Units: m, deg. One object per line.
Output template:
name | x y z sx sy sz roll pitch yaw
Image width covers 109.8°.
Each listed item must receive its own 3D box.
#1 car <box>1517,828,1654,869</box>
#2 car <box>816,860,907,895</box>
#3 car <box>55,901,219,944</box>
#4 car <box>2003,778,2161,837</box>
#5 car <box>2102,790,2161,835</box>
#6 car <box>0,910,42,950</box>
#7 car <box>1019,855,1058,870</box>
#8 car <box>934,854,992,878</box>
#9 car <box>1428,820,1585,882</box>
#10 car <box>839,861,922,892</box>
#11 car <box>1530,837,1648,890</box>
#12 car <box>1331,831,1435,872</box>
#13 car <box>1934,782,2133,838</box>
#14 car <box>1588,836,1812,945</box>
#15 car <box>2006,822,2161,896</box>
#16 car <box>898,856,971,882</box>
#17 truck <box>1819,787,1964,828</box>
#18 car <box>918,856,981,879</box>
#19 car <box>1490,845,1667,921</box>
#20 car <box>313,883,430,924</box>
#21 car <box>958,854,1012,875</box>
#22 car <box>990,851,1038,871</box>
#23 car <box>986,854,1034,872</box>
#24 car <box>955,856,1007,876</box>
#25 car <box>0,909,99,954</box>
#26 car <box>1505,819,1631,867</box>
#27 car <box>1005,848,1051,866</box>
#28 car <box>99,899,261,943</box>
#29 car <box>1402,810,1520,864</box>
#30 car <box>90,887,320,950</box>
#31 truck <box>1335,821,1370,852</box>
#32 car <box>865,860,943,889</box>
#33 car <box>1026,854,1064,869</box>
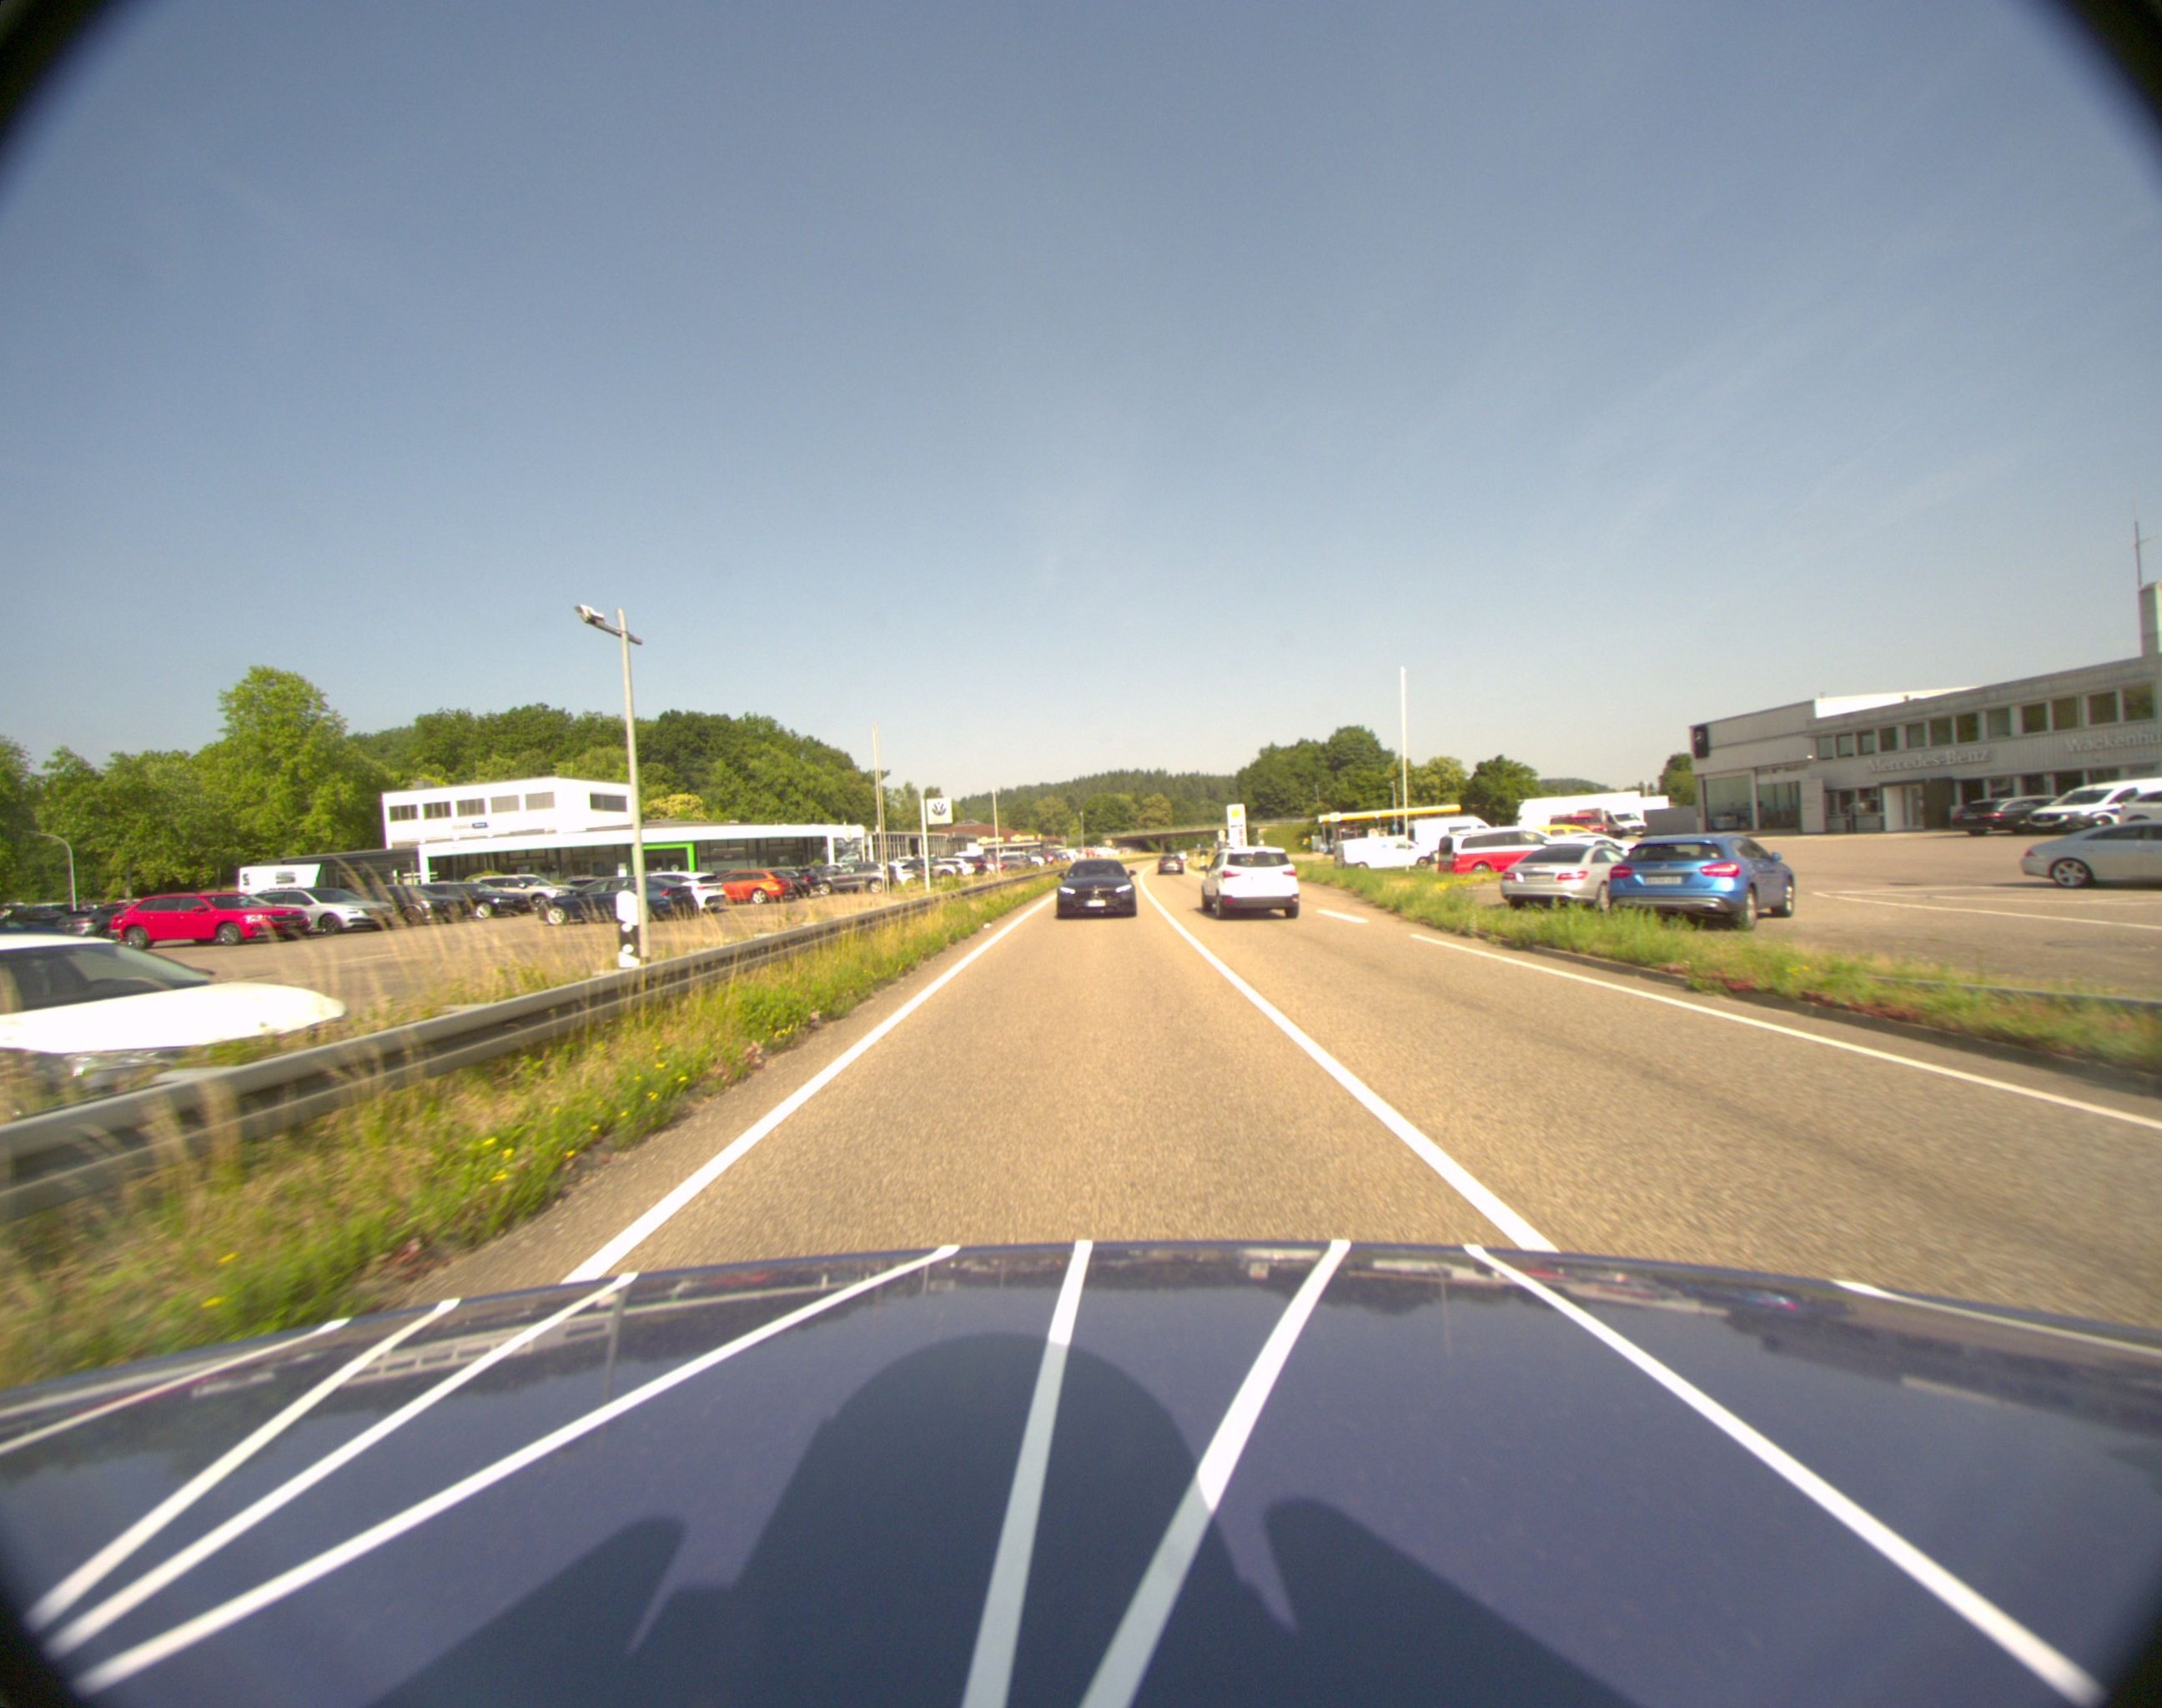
car | 21.480 -0.233 32.494 4.475 1.390 1.967 -4 0 2
car | -11.295 1.188 39.223 4.086 1.600 1.792 -2 1 2
car | -44.146 3.145 35.727 1.837 1.537 4.465 -1 1 8
car | 38.018 -1.731 28.204 4.826 1.843 1.954 -3 -1 4
car | 36.614 -1.407 24.335 1.809 1.483 4.567 -3 1 3
car | -45.742 3.225 30.437 1.837 1.537 4.465 -1 1 8
car | -4.391 0.840 79.264 3.738 1.398 1.824 -2 1 8
car | -8.785 0.874 56.705 3.884 1.654 1.841 -2 1 12
car | 16.728 -0.096 30.096 4.803 1.970 2.229 -5 0 2
car | -10.999 1.249 41.805 3.995 1.485 1.791 -2 1 5
car | 16.636 0.278 24.828 4.237 1.395 1.893 -4 1 -37
car | 16.242 -0.114 41.104 4.682 1.847 2.144 -4 0 2
car | 38.024 -1.710 30.464 4.826 1.843 2.212 -3 -1 4
car | 10.635 0.513 12.961 4.240 1.498 1.980 -2 0 -37
car | 21.263 0.061 14.331 1.809 1.378 4.832 -3 -1 3
car | -9.919 1.011 51.504 4.457 1.591 1.855 -2 1 4
truck | 54.397 -3.118 51.096 6.894 2.344 2.451 -2 1 2
car | -9.377 0.958 54.227 4.042 1.477 1.724 -2 1 12
car | 11.002 0.574 16.694 4.402 1.359 1.849 -2 0 -37
car | -33.440 2.283 36.034 2.004 1.537 4.604 -2 1 -14
car | -7.938 0.856 62.960 4.090 1.543 1.782 -2 1 9
car | -6.126 0.668 70.069 3.994 1.622 1.922 -2 1 10
car | -6.270 0.783 67.455 3.845 1.450 1.747 -2 1 10
car | -7.941 0.938 60.319 3.738 1.450 1.665 -2 1 9
car | -42.975 3.154 30.189 1.837 1.537 4.464 -1 1 6
car | 22.360 -0.471 35.027 4.391 1.797 2.002 -5 0 2
car | -5.101 0.297 73.394 3.993 1.622 1.923 -2 1 13
car | -41.706 3.048 35.378 2.002 1.537 4.609 -2 1 0
car | 22.730 -0.984 45.656 5.733 2.729 2.286 -4 1 4
car | -25.316 1.843 22.059 4.746 1.556 1.932 -2 1 5
truck | 39.659 -2.541 110.630 3.055 4.110 16.798 -2 1 25
car | -10.297 1.200 44.257 3.995 1.485 1.731 -2 1 7
car | -3.919 0.839 82.638 3.740 1.420 1.780 -2 1 8
